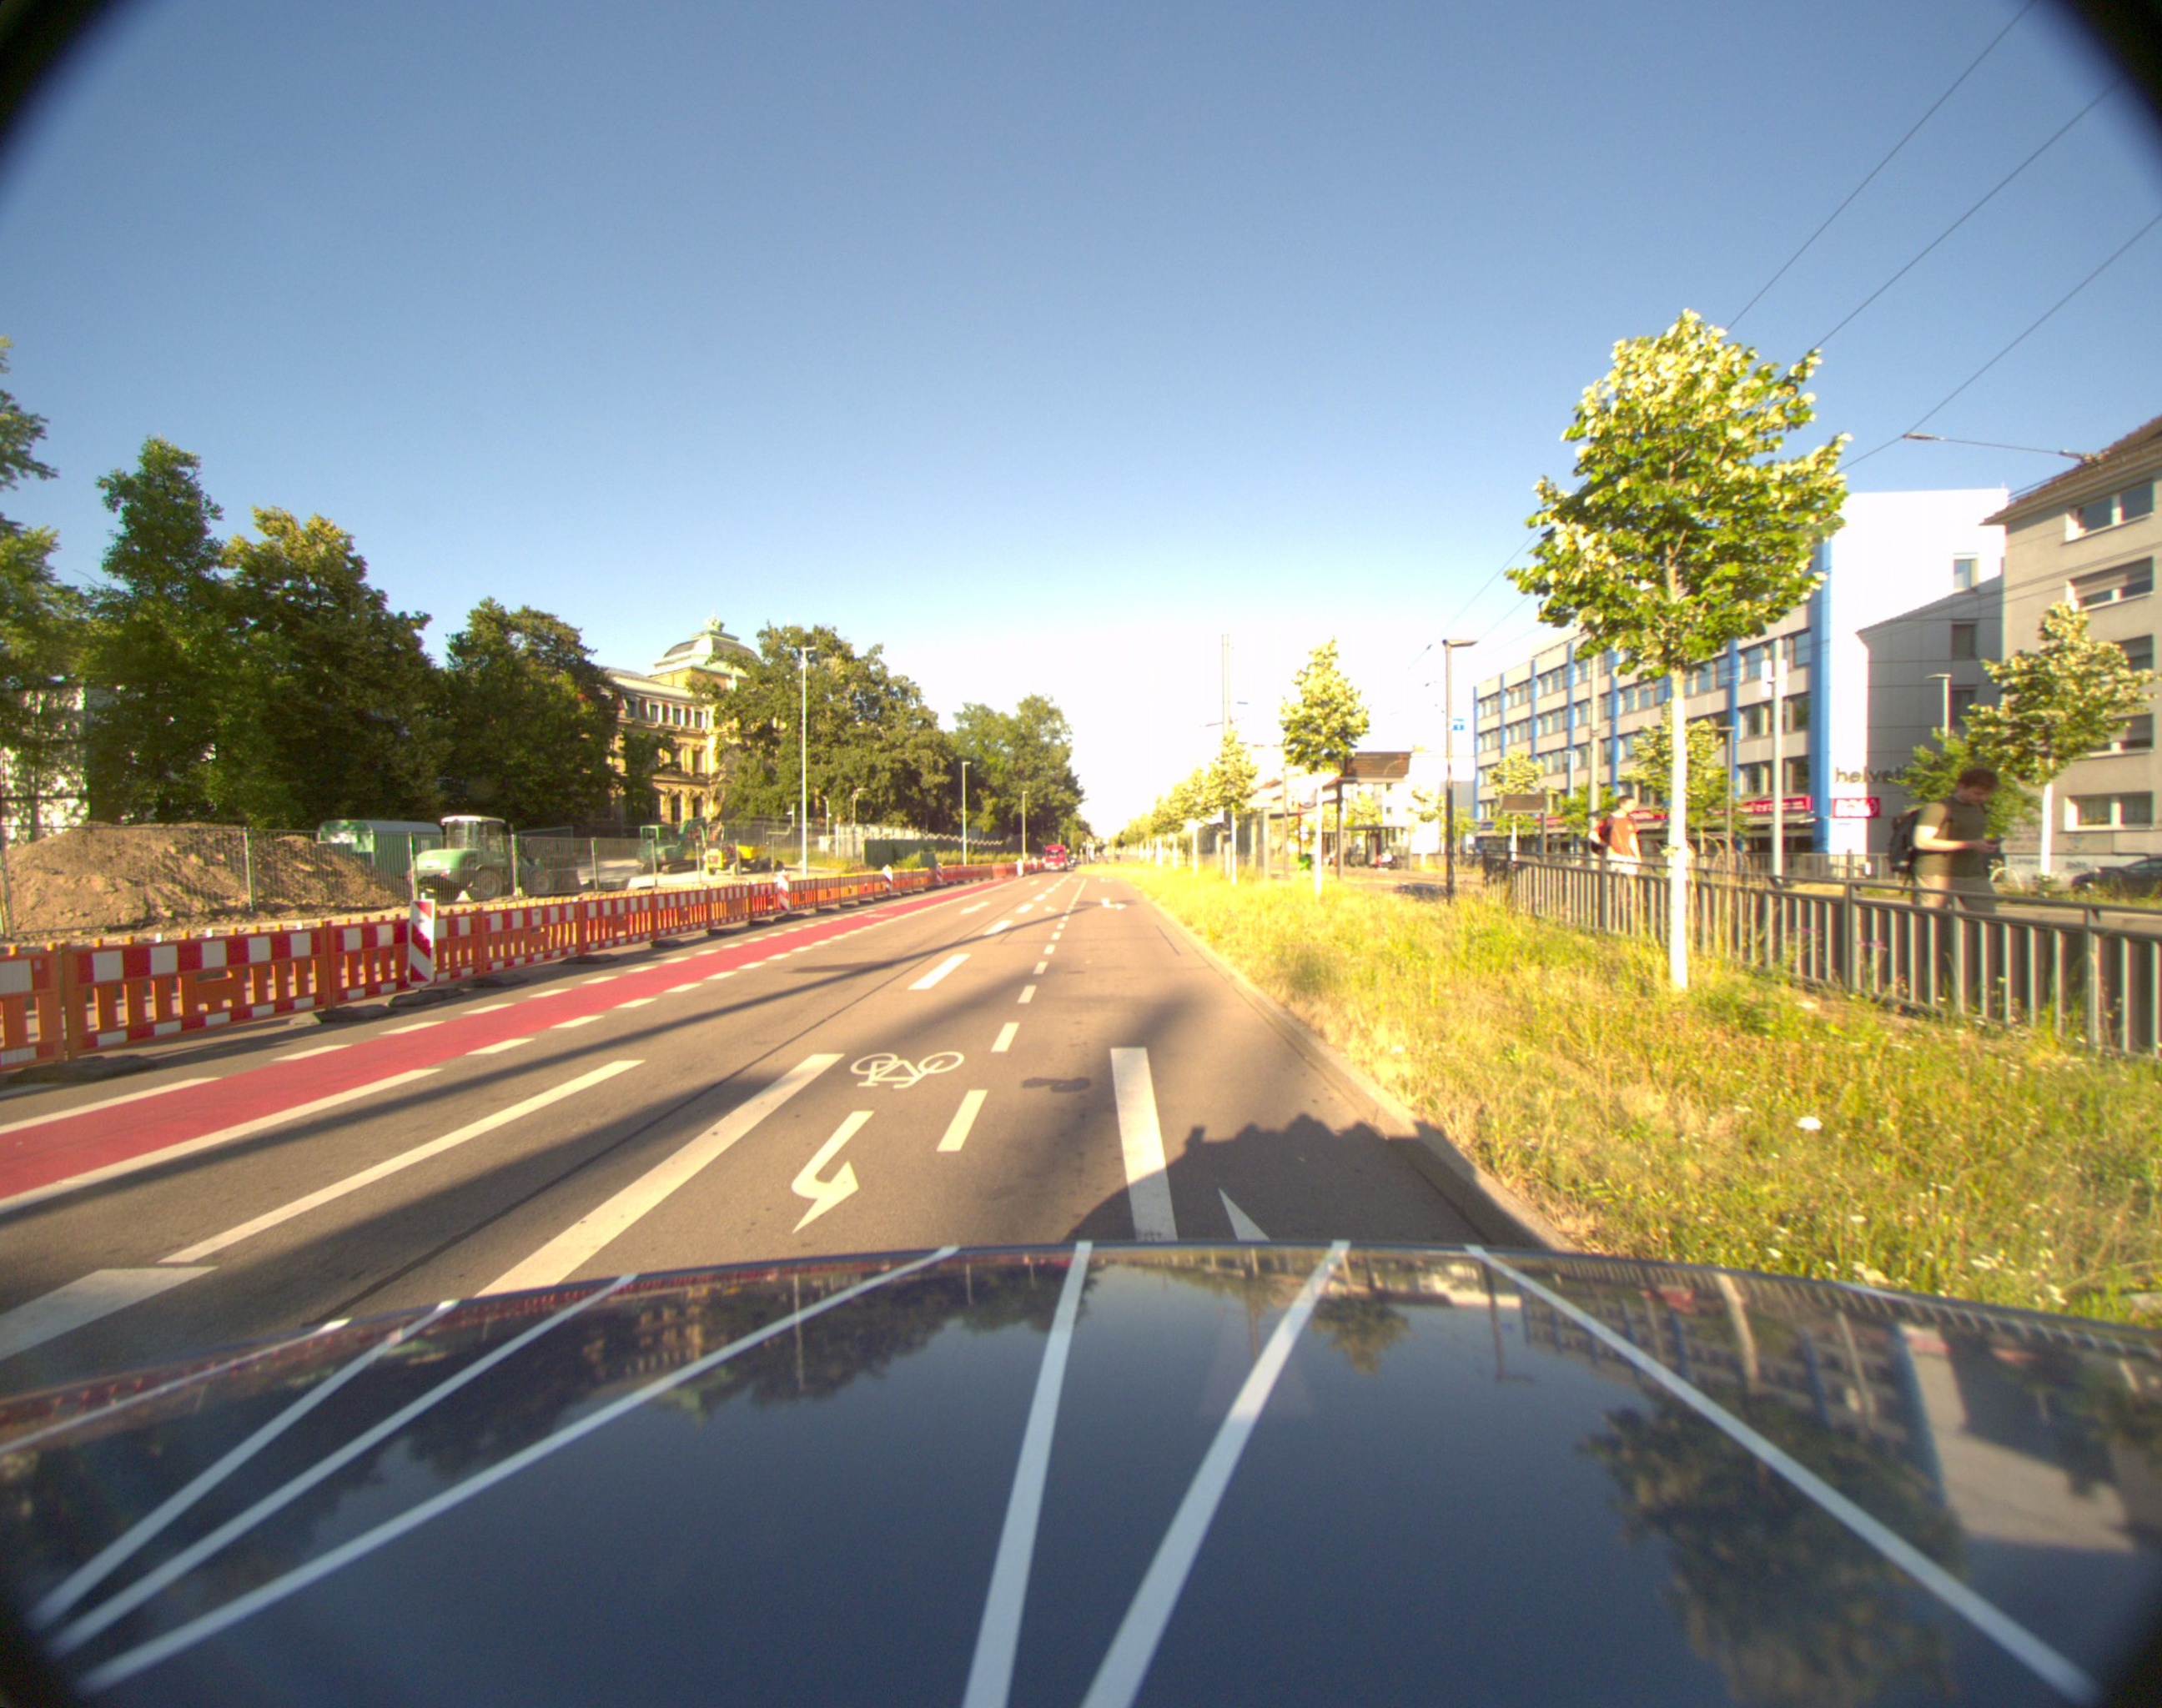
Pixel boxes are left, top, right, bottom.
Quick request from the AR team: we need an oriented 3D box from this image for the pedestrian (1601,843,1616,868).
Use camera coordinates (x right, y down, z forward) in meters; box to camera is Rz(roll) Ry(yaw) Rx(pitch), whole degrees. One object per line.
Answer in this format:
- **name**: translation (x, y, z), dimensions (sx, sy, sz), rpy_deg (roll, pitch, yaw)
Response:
- **pedestrian**: translation (36.853, 0.098, 53.083), dimensions (0.645, 1.736, 0.599), rpy_deg (-2, 1, 7)

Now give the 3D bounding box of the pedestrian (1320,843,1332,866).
- **pedestrian**: translation (18.663, 0.049, 57.855), dimensions (0.659, 1.682, 0.772), rpy_deg (-2, 1, 4)

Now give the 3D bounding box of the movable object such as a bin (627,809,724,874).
- **movable object such as a bin**: translation (-22.428, -0.687, 42.315), dimensions (1.998, 3.310, 5.376), rpy_deg (-2, 1, 5)

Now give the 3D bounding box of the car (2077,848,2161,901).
- **car**: translation (33.170, 0.625, 22.751), dimensions (1.886, 1.499, 3.674), rpy_deg (-2, 1, 1)

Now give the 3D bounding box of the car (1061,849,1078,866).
- **car**: translation (-1.434, 0.403, 95.157), dimensions (1.998, 2.002, 3.999), rpy_deg (-2, 1, 1)

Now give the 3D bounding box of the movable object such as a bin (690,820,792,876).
- **movable object such as a bin**: translation (-18.648, -0.350, 42.080), dimensions (1.997, 2.800, 5.871), rpy_deg (-2, 1, 11)

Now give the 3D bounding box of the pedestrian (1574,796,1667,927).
- **pedestrian**: translation (7.296, 0.101, 10.303), dimensions (0.787, 1.689, 0.619), rpy_deg (-2, 1, 4)

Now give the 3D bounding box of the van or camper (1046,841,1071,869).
- **van or camper**: translation (-2.071, 0.048, 71.643), dimensions (1.998, 2.514, 5.913), rpy_deg (-2, 1, 1)

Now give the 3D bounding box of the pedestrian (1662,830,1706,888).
- **pedestrian**: translation (17.991, 0.140, 22.688), dimensions (0.787, 1.663, 0.619), rpy_deg (-2, 1, 4)

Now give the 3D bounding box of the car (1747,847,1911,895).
- **car**: translation (26.054, 0.543, 26.682), dimensions (1.886, 1.499, 3.942), rpy_deg (-2, 1, 1)

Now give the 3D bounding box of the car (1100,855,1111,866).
- **car**: translation (5.009, 1.338, 154.954), dimensions (1.998, 2.002, 3.999), rpy_deg (-2, 1, 1)

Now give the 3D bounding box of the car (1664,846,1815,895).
- **car**: translation (22.818, 0.519, 26.545), dimensions (1.886, 1.499, 3.942), rpy_deg (-2, 1, 1)

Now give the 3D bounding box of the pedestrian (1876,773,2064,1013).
- **pedestrian**: translation (7.261, 0.308, 6.241), dimensions (0.787, 1.853, 0.619), rpy_deg (-2, 1, 4)

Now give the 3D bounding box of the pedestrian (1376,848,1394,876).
- **pedestrian**: translation (18.250, 0.474, 45.624), dimensions (0.660, 1.682, 0.772), rpy_deg (-2, 1, -1)

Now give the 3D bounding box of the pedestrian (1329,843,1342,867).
- **pedestrian**: translation (18.609, 0.077, 55.550), dimensions (0.659, 1.682, 0.772), rpy_deg (-2, 1, 7)

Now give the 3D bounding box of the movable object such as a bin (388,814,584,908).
- **movable object such as a bin**: translation (-19.046, 0.170, 24.727), dimensions (1.998, 2.668, 5.015), rpy_deg (-2, 1, 5)
